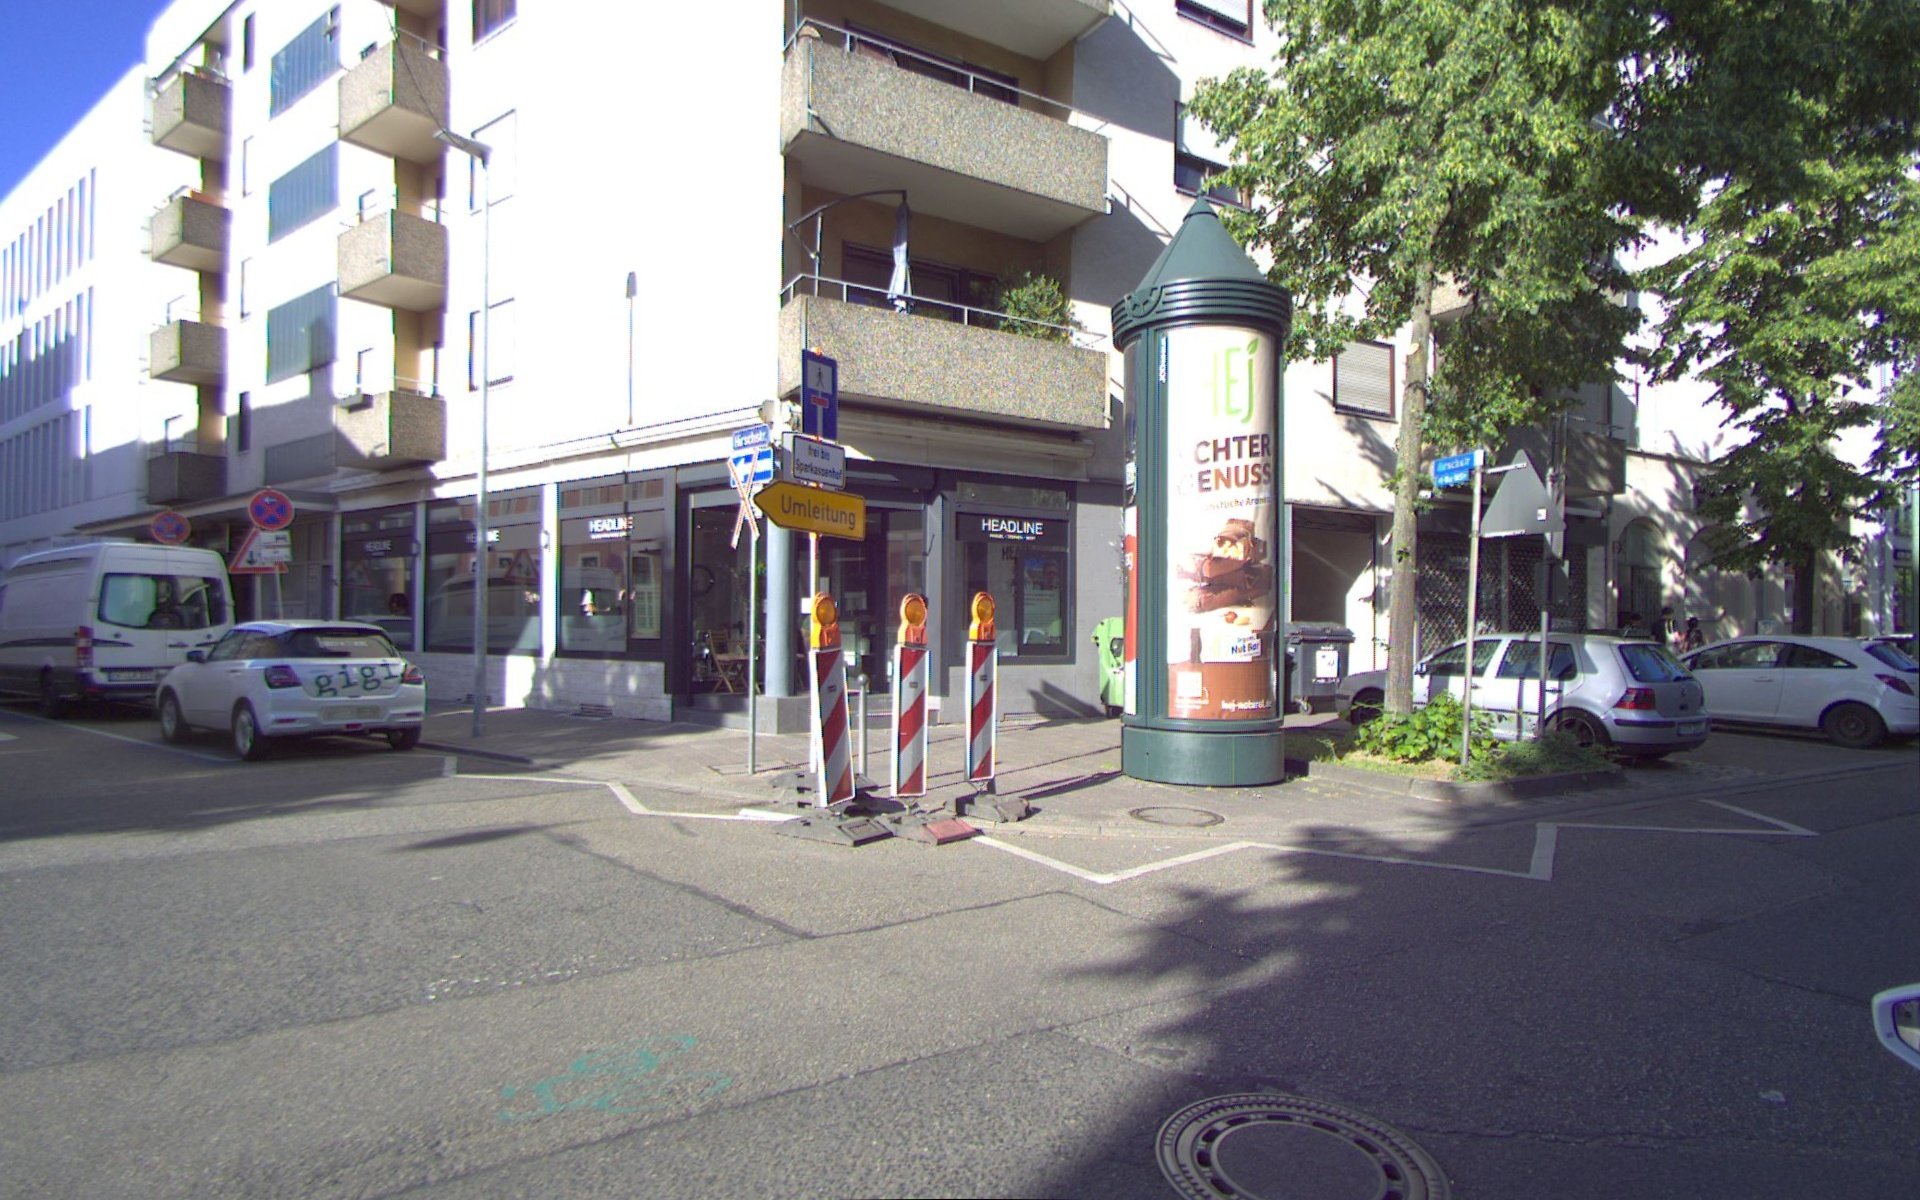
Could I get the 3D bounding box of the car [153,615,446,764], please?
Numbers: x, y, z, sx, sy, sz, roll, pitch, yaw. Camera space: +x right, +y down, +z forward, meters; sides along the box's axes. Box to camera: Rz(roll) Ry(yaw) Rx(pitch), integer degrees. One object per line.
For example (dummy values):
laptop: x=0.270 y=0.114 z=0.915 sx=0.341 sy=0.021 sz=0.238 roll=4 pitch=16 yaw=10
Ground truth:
car: x=-7.925 y=0.959 z=11.974 sx=3.547 sy=1.496 sz=1.897 roll=-1 pitch=-2 yaw=38

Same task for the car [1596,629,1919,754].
car: x=11.655 y=1.201 z=14.576 sx=1.691 sy=1.483 sz=3.757 roll=1 pitch=-1 yaw=-32

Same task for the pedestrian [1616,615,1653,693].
pedestrian: x=14.873 y=1.171 z=22.144 sx=0.631 sy=1.694 sz=0.432 roll=1 pitch=-1 yaw=-28

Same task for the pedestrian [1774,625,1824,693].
pedestrian: x=19.253 y=1.335 z=23.061 sx=0.832 sy=1.514 sz=0.590 roll=1 pitch=1 yaw=-29

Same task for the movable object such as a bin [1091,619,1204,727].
movable object such as a bin: x=2.700 y=1.021 z=14.530 sx=1.243 sy=1.479 sz=1.029 roll=1 pitch=-2 yaw=-29

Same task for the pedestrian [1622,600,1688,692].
pedestrian: x=14.077 y=0.913 z=20.352 sx=0.755 sy=1.790 sz=0.770 roll=1 pitch=3 yaw=-32

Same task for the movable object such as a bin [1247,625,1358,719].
movable object such as a bin: x=5.522 y=1.132 z=16.211 sx=1.335 sy=1.433 sz=1.073 roll=1 pitch=-2 yaw=-29

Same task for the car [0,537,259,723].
car: x=-14.394 y=0.505 z=16.832 sx=6.398 sy=2.615 sz=2.218 roll=-1 pitch=-2 yaw=35

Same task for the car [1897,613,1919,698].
car: x=22.715 y=1.222 z=21.072 sx=2.014 sy=1.860 sz=4.087 roll=1 pitch=-1 yaw=-29

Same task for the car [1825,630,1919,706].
car: x=20.137 y=1.379 z=20.067 sx=1.864 sy=1.483 sz=3.962 roll=1 pitch=-1 yaw=-29

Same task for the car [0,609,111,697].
car: x=-19.489 y=1.062 z=20.809 sx=3.721 sy=1.665 sz=1.900 roll=-1 pitch=-2 yaw=33

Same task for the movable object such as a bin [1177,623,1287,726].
movable object such as a bin: x=4.121 y=1.095 z=15.260 sx=1.243 sy=1.479 sz=1.029 roll=1 pitch=-2 yaw=-29

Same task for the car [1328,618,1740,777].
car: x=6.648 y=1.033 z=12.098 sx=1.728 sy=1.483 sz=3.979 roll=3 pitch=-1 yaw=-30

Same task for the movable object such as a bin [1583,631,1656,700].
movable object such as a bin: x=14.096 y=1.371 z=21.474 sx=1.211 sy=1.416 sz=0.818 roll=1 pitch=-1 yaw=-28

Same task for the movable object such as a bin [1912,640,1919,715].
movable object such as a bin: x=18.176 y=1.413 z=18.166 sx=0.921 sy=1.363 sz=1.186 roll=1 pitch=-1 yaw=-31

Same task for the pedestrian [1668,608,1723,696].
pedestrian: x=14.435 y=1.005 z=19.707 sx=0.719 sy=1.648 sz=0.562 roll=1 pitch=3 yaw=-32
